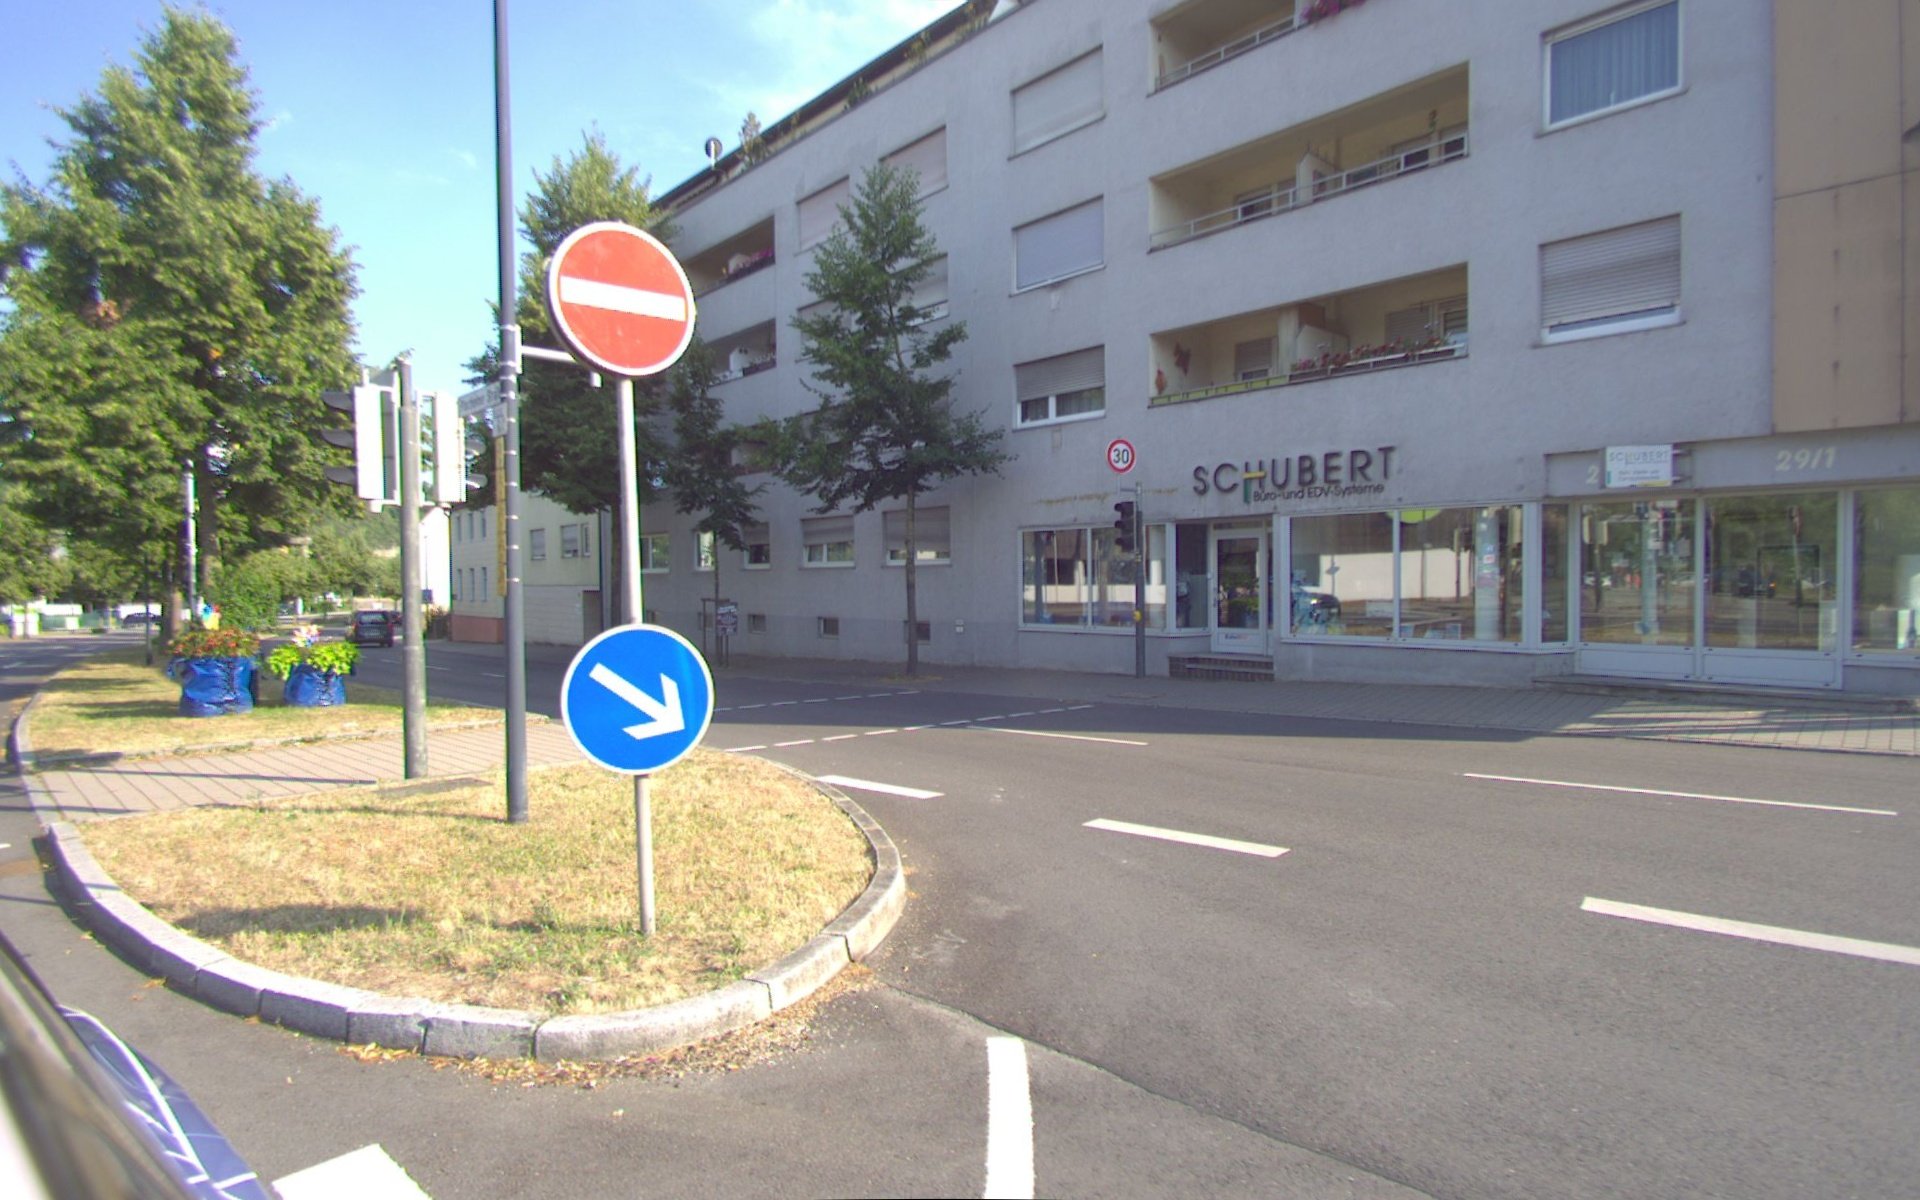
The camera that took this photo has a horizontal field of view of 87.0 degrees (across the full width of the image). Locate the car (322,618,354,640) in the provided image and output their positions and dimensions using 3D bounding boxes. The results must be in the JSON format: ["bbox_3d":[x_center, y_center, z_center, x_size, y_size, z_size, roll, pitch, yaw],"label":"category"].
[{"bbox_3d":[-45.256,2.109,73.600,1.827,1.497,5.010,0,-1,-33],"label":"car"}]

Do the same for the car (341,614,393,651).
[{"bbox_3d":[-29.602,1.575,50.452,1.828,1.750,4.935,0,-1,-35],"label":"car"}]
